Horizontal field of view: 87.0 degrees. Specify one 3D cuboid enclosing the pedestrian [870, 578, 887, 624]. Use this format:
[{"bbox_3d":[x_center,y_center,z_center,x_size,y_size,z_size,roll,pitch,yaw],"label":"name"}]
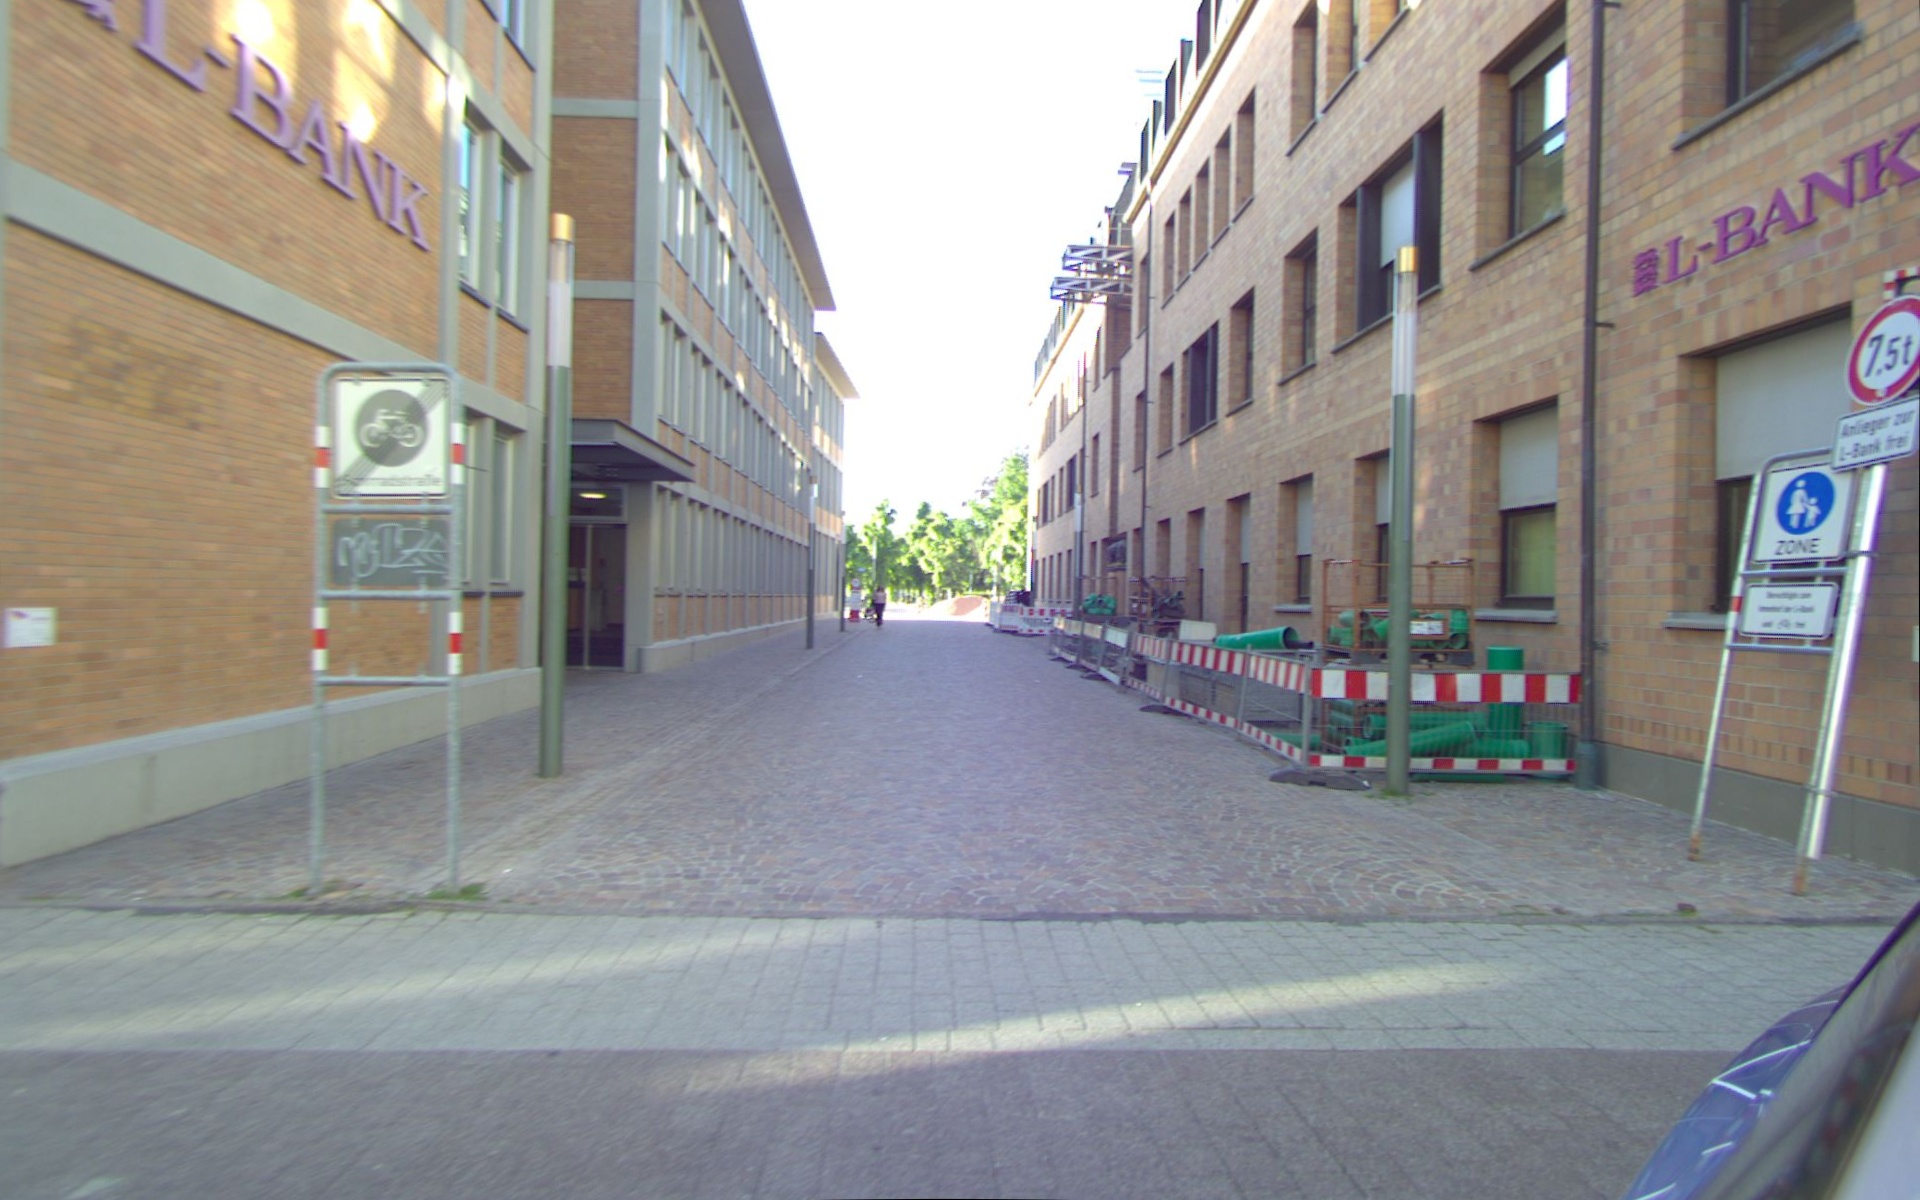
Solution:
[{"bbox_3d":[-3.232,0.039,39.993,0.626,1.809,0.652,1,-2,-3],"label":"pedestrian"}]
